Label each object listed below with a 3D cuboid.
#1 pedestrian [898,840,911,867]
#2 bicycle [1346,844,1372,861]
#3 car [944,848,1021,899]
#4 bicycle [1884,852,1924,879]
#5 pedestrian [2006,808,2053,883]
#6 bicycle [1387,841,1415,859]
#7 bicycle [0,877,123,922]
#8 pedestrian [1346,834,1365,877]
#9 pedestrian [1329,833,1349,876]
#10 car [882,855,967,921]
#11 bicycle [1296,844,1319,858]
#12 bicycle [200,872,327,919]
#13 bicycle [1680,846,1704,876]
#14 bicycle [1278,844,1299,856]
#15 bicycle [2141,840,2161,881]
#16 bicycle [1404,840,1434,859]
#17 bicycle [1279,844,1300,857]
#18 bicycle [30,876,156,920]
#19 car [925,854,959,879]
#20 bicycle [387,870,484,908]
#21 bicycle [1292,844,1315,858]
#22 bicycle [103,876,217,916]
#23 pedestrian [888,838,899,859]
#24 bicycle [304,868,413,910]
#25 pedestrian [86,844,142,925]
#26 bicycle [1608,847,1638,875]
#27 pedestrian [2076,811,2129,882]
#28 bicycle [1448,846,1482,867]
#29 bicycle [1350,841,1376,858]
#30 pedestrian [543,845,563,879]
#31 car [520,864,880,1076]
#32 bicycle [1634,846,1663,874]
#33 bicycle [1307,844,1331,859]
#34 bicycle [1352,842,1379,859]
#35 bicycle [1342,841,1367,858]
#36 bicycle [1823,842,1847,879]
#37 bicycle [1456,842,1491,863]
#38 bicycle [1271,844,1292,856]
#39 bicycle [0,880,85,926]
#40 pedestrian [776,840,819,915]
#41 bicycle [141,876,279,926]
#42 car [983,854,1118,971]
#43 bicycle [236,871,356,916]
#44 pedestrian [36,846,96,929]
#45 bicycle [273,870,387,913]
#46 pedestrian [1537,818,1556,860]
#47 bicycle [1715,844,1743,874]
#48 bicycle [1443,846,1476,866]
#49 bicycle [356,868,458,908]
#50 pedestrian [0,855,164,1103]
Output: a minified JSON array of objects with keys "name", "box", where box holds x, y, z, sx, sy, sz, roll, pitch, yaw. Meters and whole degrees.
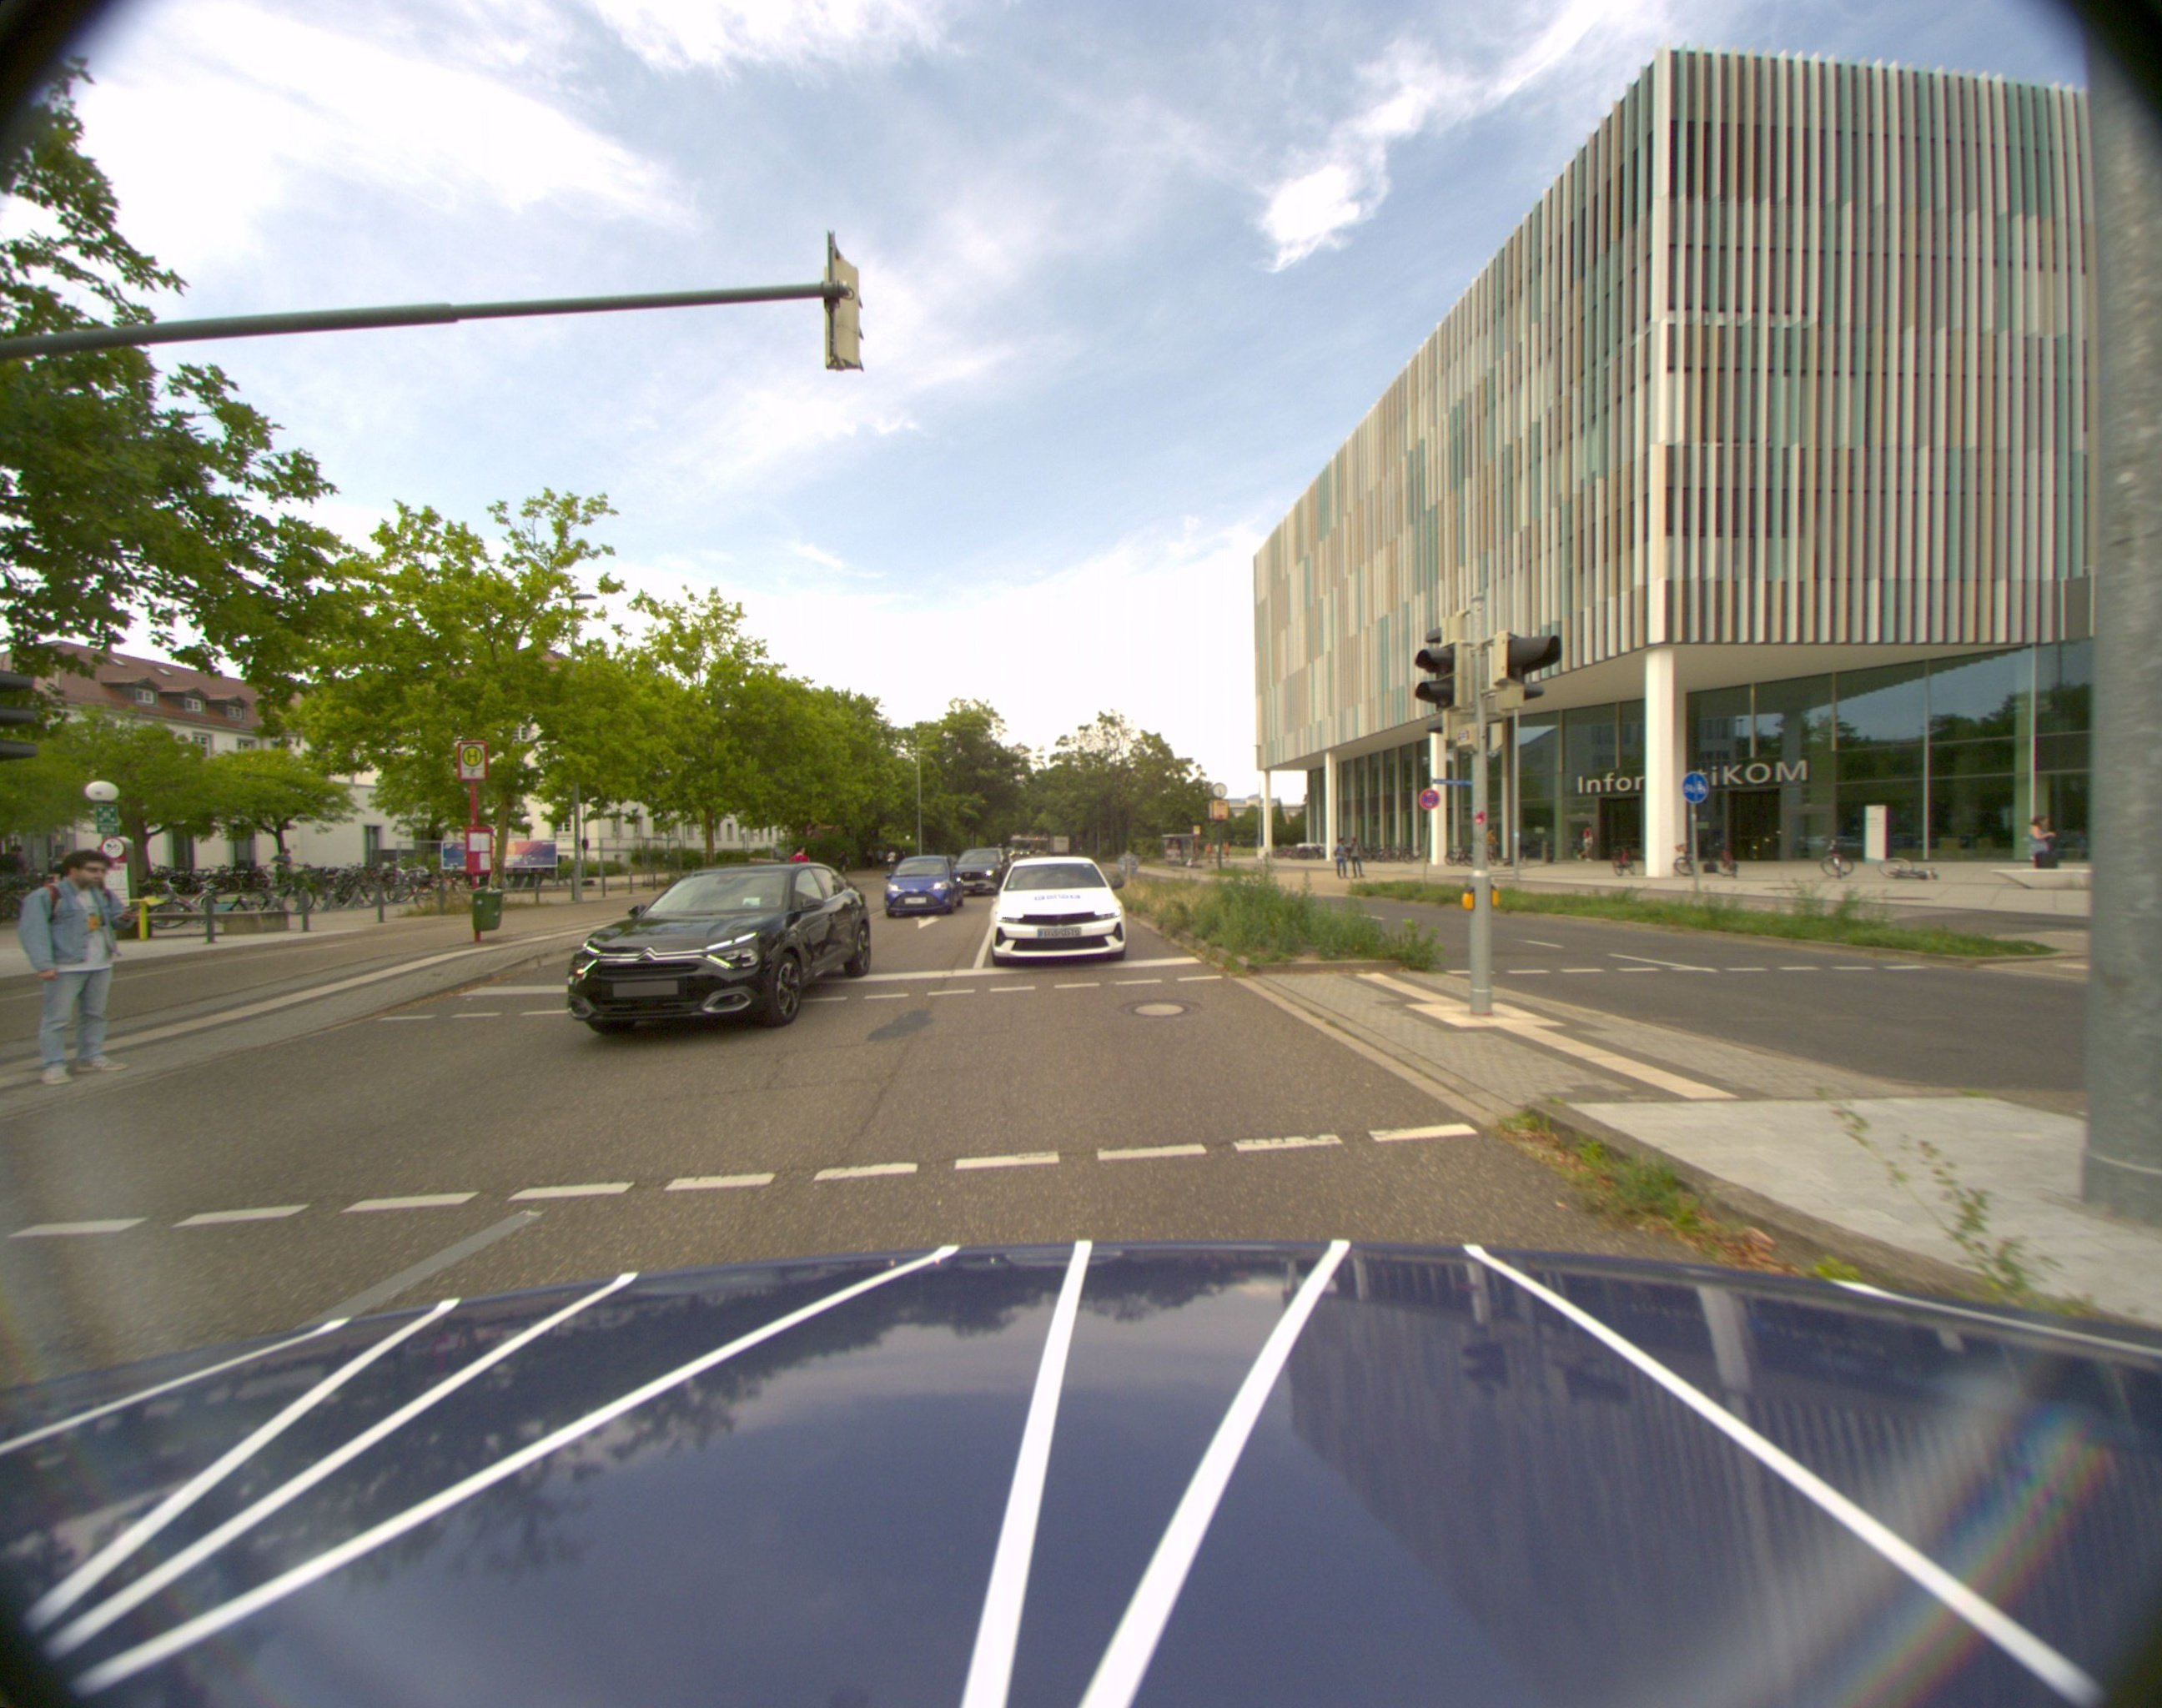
[{"name":"pedestrian","box":[-12.839,-0.045,55.288,0.798,1.922,0.759,-1,1,-4]},{"name":"bicycle","box":[18.743,-0.101,51.202,1.582,1.017,0.389,-3,2,-9]},{"name":"car","box":[-3.491,0.624,27.755,1.904,1.639,4.645,-2,1,3]},{"name":"bicycle","box":[24.443,0.326,22.583,0.393,0.669,1.799,-2,2,34]},{"name":"pedestrian","box":[22.551,-0.200,18.061,0.731,1.730,0.676,-3,2,-37]},{"name":"bicycle","box":[19.449,-0.252,46.183,1.582,1.017,0.389,-3,2,-9]},{"name":"bicycle","box":[-28.081,1.243,20.858,2.472,1.136,0.717,-1,1,-2]},{"name":"pedestrian","box":[11.882,0.077,32.890,0.512,1.827,0.624,-1,0,-4]},{"name":"pedestrian","box":[11.121,0.008,32.786,0.512,1.827,0.772,-1,0,-4]},{"name":"car","box":[-4.055,0.823,20.258,1.704,1.485,3.830,-1,1,-4]},{"name":"bicycle","box":[18.113,-0.259,60.672,1.704,1.017,0.434,-3,2,-9]},{"name":"bicycle","box":[-21.747,1.090,20.253,2.472,1.136,0.717,-1,1,-2]},{"name":"bicycle","box":[20.966,0.217,26.089,0.393,0.932,1.600,-2,2,30]},{"name":"bicycle","box":[18.002,-0.352,66.033,1.704,1.017,0.434,-3,2,-9]},{"name":"bicycle","box":[26.949,0.164,18.583,0.622,0.979,2.255,0,1,39]},{"name":"bicycle","box":[19.562,-0.253,43.976,1.582,1.017,0.389,-3,2,-9]},{"name":"bicycle","box":[17.892,-0.328,65.146,1.704,1.017,0.434,-3,2,-9]},{"name":"bicycle","box":[-28.106,1.247,21.642,2.472,1.136,0.717,-1,1,-2]},{"name":"car","box":[-8.642,0.747,47.461,1.704,1.361,3.830,-1,1,-4]},{"name":"bicycle","box":[-21.094,1.142,24.862,2.472,1.136,0.717,-1,1,-2]},{"name":"bicycle","box":[18.035,-0.256,61.520,1.704,1.017,0.434,-3,2,-9]},{"name":"bicycle","box":[-28.187,1.277,23.288,2.472,1.136,0.717,-1,1,-2]},{"name":"pedestrian","box":[-13.585,-0.401,55.112,0.646,1.556,0.804,-1,1,-5]},{"name":"bicycle","box":[-21.815,1.047,22.977,2.472,1.136,0.717,-1,1,-2]},{"name":"pedestrian","box":[-24.164,0.740,18.993,0.687,1.952,0.601,-4,2,-43]},{"name":"bicycle","box":[19.920,0.250,27.909,1.613,0.932,0.393,-4,2,-37]},{"name":"pedestrian","box":[23.384,-0.177,17.395,0.731,1.591,0.677,-2,2,-34]},{"name":"bicycle","box":[19.394,0.116,38.385,1.546,0.932,0.393,-3,2,-9]},{"name":"bicycle","box":[18.804,-0.297,50.718,1.582,1.017,0.389,-3,2,-9]},{"name":"pedestrian","box":[-27.259,0.413,39.245,0.531,1.743,0.594,-1,1,0]},{"name":"car","box":[-3.629,0.963,8.239,1.804,1.547,4.175,-3,1,-1]},{"name":"bicycle","box":[20.982,0.230,28.082,1.600,0.932,0.393,-4,2,-37]},{"name":"bicycle","box":[18.495,-0.200,59.055,1.704,1.017,0.389,-3,2,-9]},{"name":"bicycle","box":[18.323,-0.245,48.928,1.582,1.017,0.389,-3,2,-9]},{"name":"bicycle","box":[18.654,-0.317,51.783,1.582,1.017,0.389,-3,2,-9]},{"name":"bicycle","box":[23.330,0.192,23.516,1.549,1.023,0.393,-4,2,-41]},{"name":"bicycle","box":[19.458,-0.080,37.686,1.546,0.989,0.399,-3,2,-8]},{"name":"bicycle","box":[17.812,-0.376,67.504,1.704,1.017,0.434,-3,2,-9]},{"name":"bicycle","box":[-28.045,1.301,20.029,2.472,1.136,0.717,-1,1,-2]},{"name":"pedestrian","box":[-7.225,0.566,19.420,0.727,1.843,1.064,-2,1,-6]},{"name":"bicycle","box":[-21.786,1.155,19.033,2.472,1.136,0.717,-1,1,-2]},{"name":"car","box":[-0.572,0.766,12.368,1.745,1.430,4.780,-1,1,-4]},{"name":"bicycle","box":[-21.815,1.085,21.154,2.472,1.136,0.717,-1,1,-2]},{"name":"pedestrian","box":[-24.713,0.789,18.507,0.687,1.952,0.601,-4,2,-43]},{"name":"bicycle","box":[-21.779,1.065,22.071,2.472,1.136,0.717,-1,1,-2]},{"name":"pedestrian","box":[23.034,-0.750,37.583,0.512,2.032,0.624,-1,0,-5]},{"name":"bicycle","box":[21.748,0.156,25.520,0.393,0.932,1.600,-2,2,30]},{"name":"bicycle","box":[19.557,0.087,39.223,1.546,0.932,0.389,-3,2,-9]},{"name":"bicycle","box":[-21.146,1.051,23.868,2.472,1.136,0.717,-1,1,-2]},{"name":"pedestrian","box":[-7.902,0.927,5.926,0.574,1.806,0.681,-1,1,-1]}]
